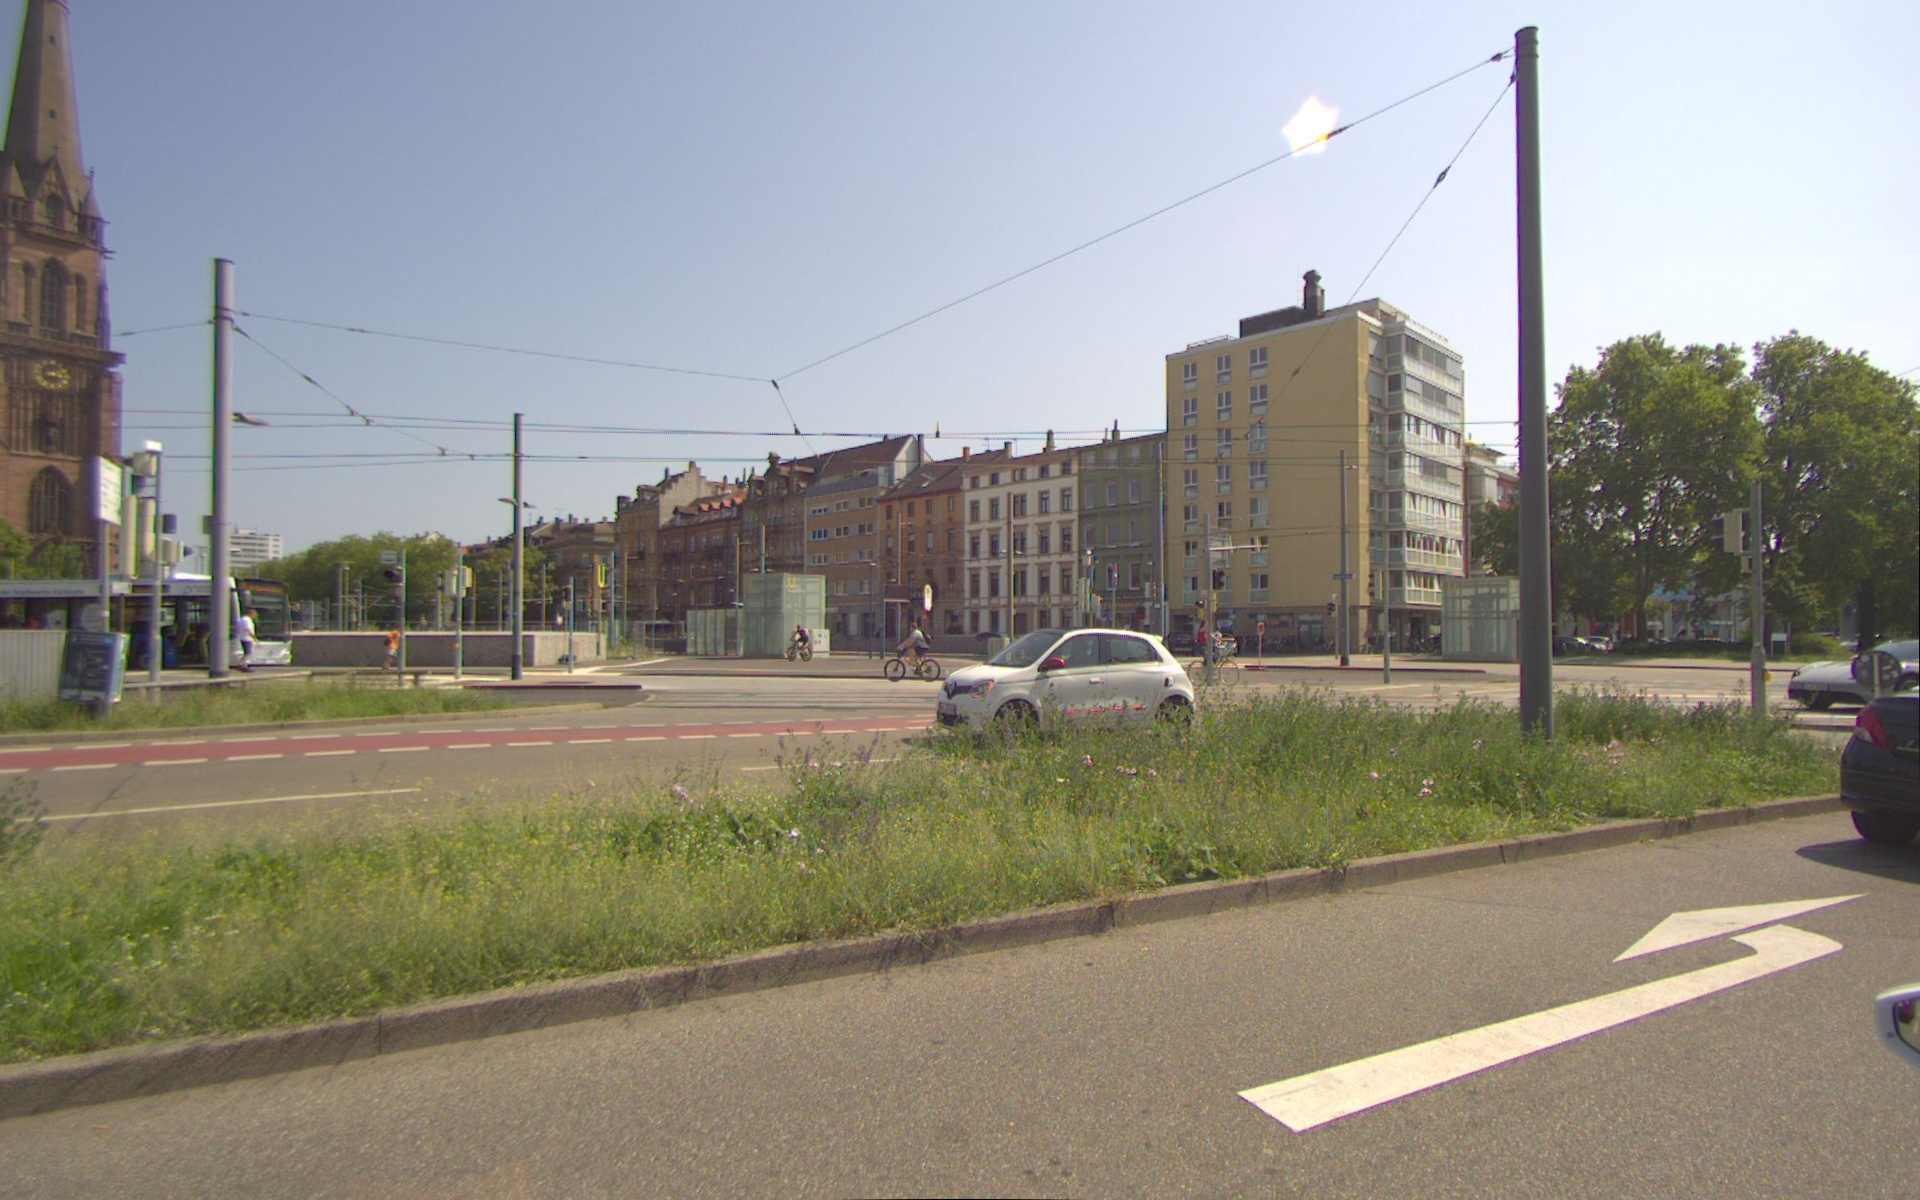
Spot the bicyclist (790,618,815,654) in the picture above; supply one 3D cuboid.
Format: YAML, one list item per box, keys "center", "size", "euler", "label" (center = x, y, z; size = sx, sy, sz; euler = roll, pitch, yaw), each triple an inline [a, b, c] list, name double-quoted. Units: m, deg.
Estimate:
- center: [-7.408, 1.697, 47.323]
  size: [0.958, 1.675, 0.661]
  euler: [-1, -2, 30]
  label: "bicyclist"

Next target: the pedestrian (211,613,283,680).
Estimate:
- center: [-20.592, 1.338, 29.047]
  size: [1.284, 1.910, 1.039]
  euler: [0, -3, 1]
  label: "pedestrian"

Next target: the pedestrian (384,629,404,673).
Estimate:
- center: [-21.169, 1.903, 37.554]
  size: [0.457, 1.633, 0.465]
  euler: [0, -1, -2]
  label: "pedestrian"

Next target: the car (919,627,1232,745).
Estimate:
- center: [1.605, 1.122, 13.958]
  size: [4.010, 1.443, 1.766]
  euler: [1, -2, -24]
  label: "car"

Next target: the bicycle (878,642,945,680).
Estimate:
- center: [-1.526, 1.904, 31.561]
  size: [2.007, 1.152, 0.697]
  euler: [1, -1, -11]
  label: "bicycle"

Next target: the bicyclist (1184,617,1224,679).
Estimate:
- center: [6.716, 1.319, 27.681]
  size: [0.603, 1.664, 0.830]
  euler: [0, -2, -45]
  label: "bicyclist"

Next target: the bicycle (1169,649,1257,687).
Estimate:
- center: [6.886, 1.851, 27.502]
  size: [0.600, 0.966, 2.385]
  euler: [2, -3, -44]
  label: "bicycle"

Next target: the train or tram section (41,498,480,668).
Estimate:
- center: [-16.239, -0.299, 23.863]
  size: [8.083, 3.616, 3.146]
  euler: [-1, -3, -1]
  label: "train or tram section"

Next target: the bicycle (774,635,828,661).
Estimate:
- center: [-7.465, 2.230, 47.187]
  size: [0.958, 1.194, 2.827]
  euler: [-1, -2, 29]
  label: "bicycle"

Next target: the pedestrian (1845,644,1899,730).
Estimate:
- center: [14.204, 1.338, 15.644]
  size: [0.589, 1.285, 0.502]
  euler: [-2, 0, 44]
  label: "pedestrian"

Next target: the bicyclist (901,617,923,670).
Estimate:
- center: [-1.515, 1.366, 31.622]
  size: [0.608, 1.671, 0.691]
  euler: [0, -1, -11]
  label: "bicyclist"

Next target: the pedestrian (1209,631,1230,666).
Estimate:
- center: [12.280, 2.285, 47.477]
  size: [0.809, 1.654, 0.642]
  euler: [2, -3, -44]
  label: "pedestrian"

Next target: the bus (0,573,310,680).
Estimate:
- center: [-27.280, 0.820, 31.029]
  size: [12.237, 3.111, 3.107]
  euler: [0, -2, -1]
  label: "bus"

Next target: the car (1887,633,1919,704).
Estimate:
- center: [21.380, 1.369, 19.867]
  size: [4.499, 1.418, 1.945]
  euler: [0, -2, -5]
  label: "car"

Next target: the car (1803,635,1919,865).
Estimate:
- center: [7.872, 0.963, 6.822]
  size: [3.925, 1.423, 1.754]
  euler: [1, -1, -24]
  label: "car"
